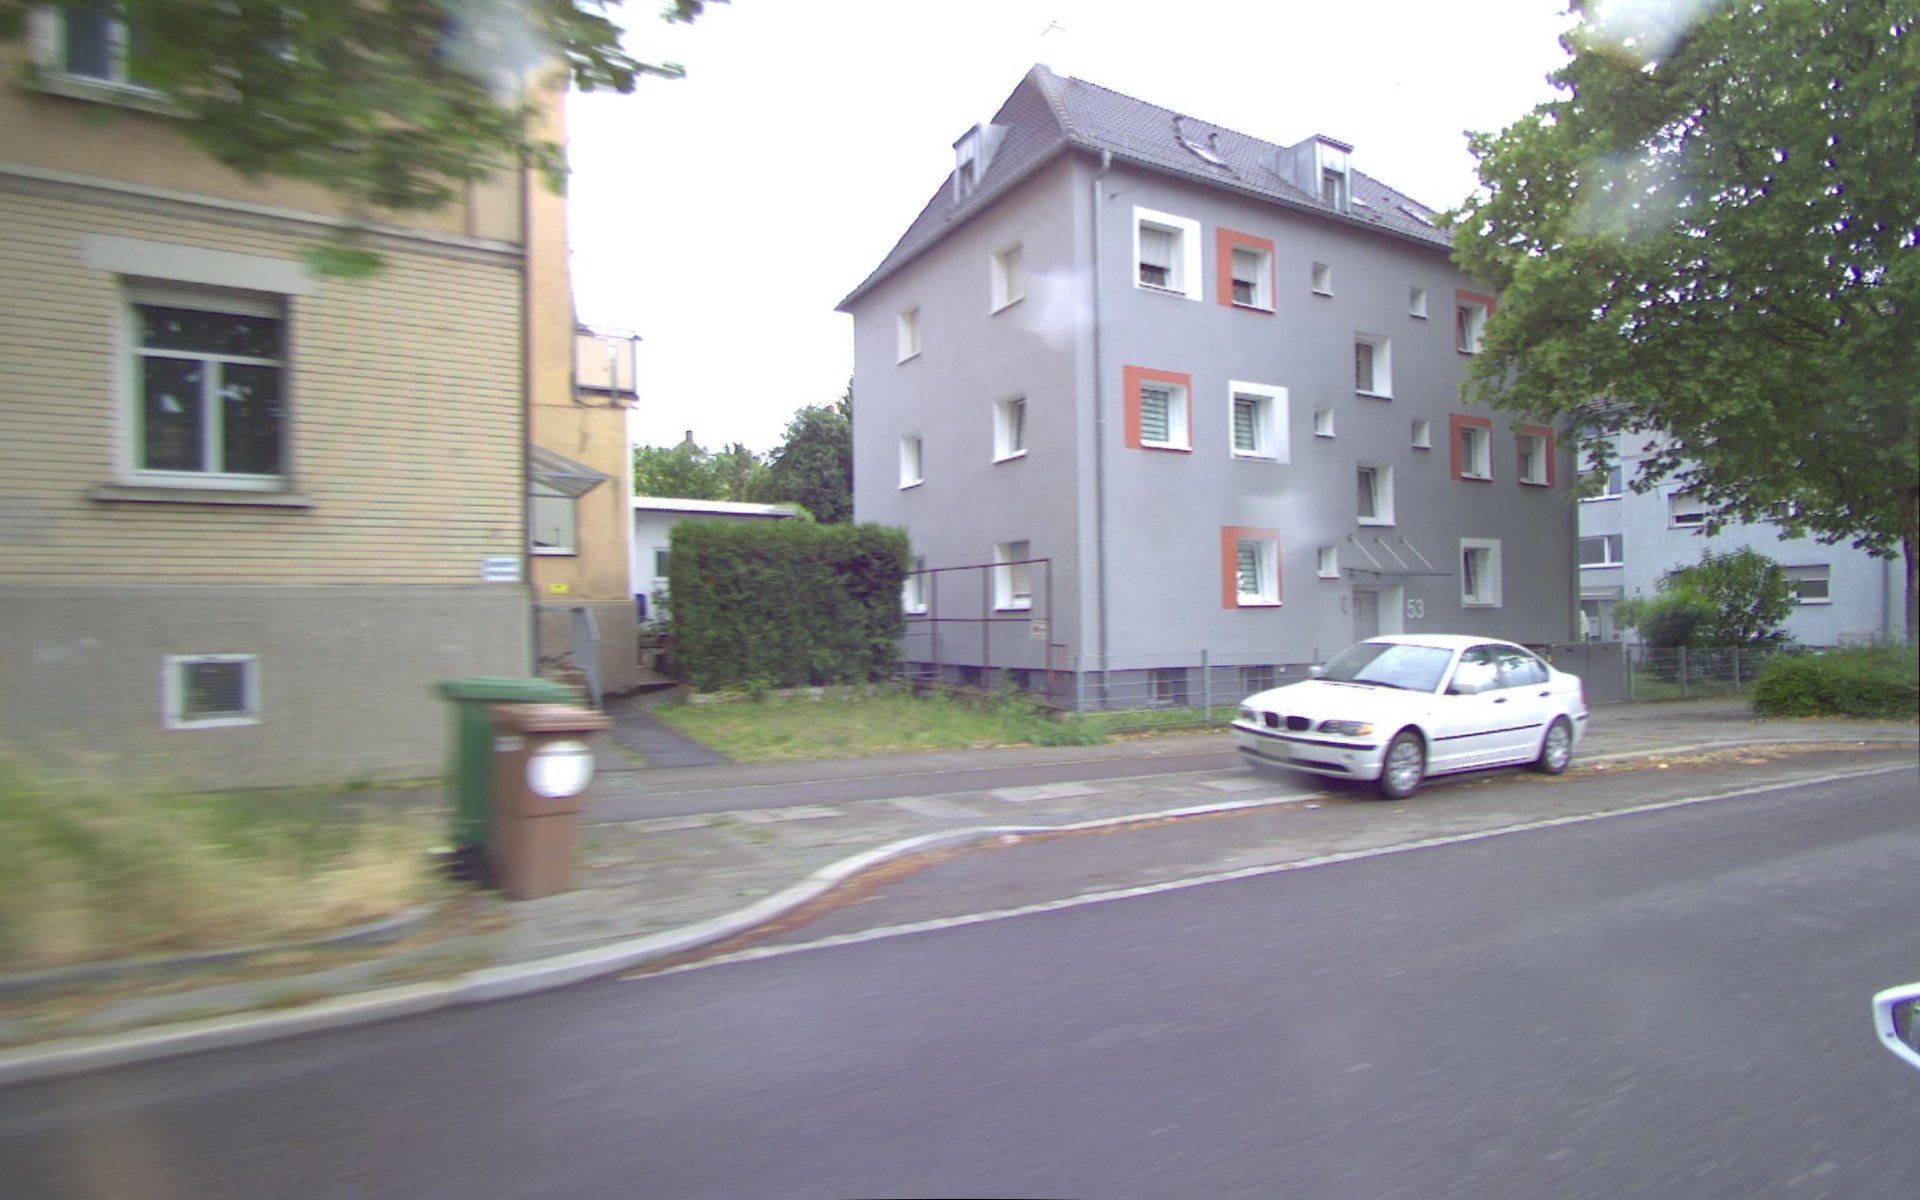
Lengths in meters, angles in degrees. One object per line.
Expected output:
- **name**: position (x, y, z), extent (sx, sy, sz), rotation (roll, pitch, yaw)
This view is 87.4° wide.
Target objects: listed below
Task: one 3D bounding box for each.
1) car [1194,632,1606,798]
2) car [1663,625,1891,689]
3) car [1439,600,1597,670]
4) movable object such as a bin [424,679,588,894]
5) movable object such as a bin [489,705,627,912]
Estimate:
- **car**: position (4.644, 1.032, 10.357), extent (4.491, 1.344, 1.745), rotation (1, -1, -34)
- **car**: position (22.841, 1.555, 28.308), extent (1.848, 1.496, 4.641), rotation (2, 0, -30)
- **car**: position (16.801, 1.063, 30.209), extent (4.491, 1.945, 1.879), rotation (2, 0, -25)
- **movable object such as a bin**: position (-2.509, 0.982, 5.548), extent (0.753, 1.071, 0.532), rotation (2, -3, -30)
- **movable object such as a bin**: position (-2.063, 1.025, 5.144), extent (0.574, 0.940, 0.510), rotation (2, -3, -30)
